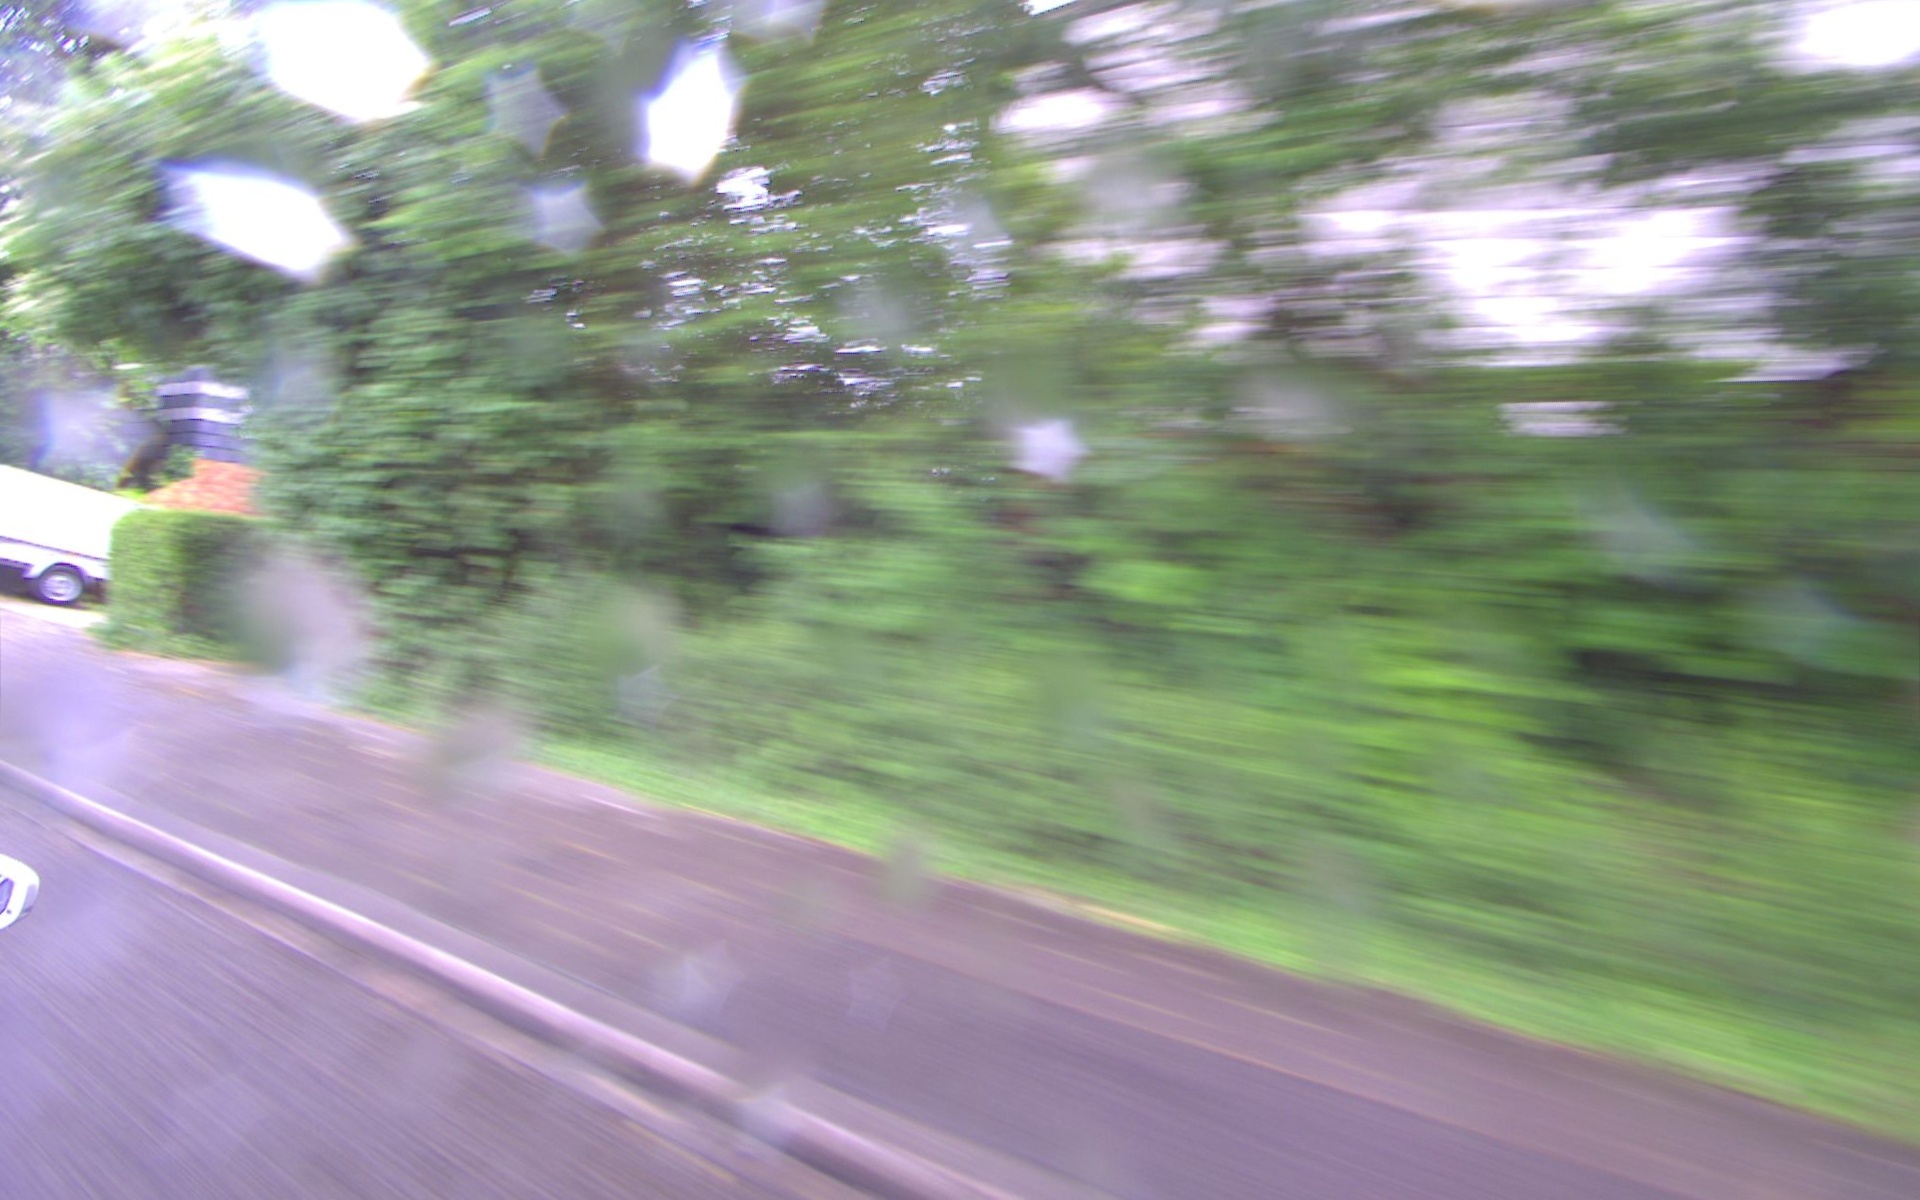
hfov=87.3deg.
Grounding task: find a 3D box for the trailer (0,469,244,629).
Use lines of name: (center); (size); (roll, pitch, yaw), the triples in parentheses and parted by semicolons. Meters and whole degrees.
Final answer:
trailer: (-12.397, -0.696, 14.367); (1.463, 1.584, 2.996); (7, -8, 29)
